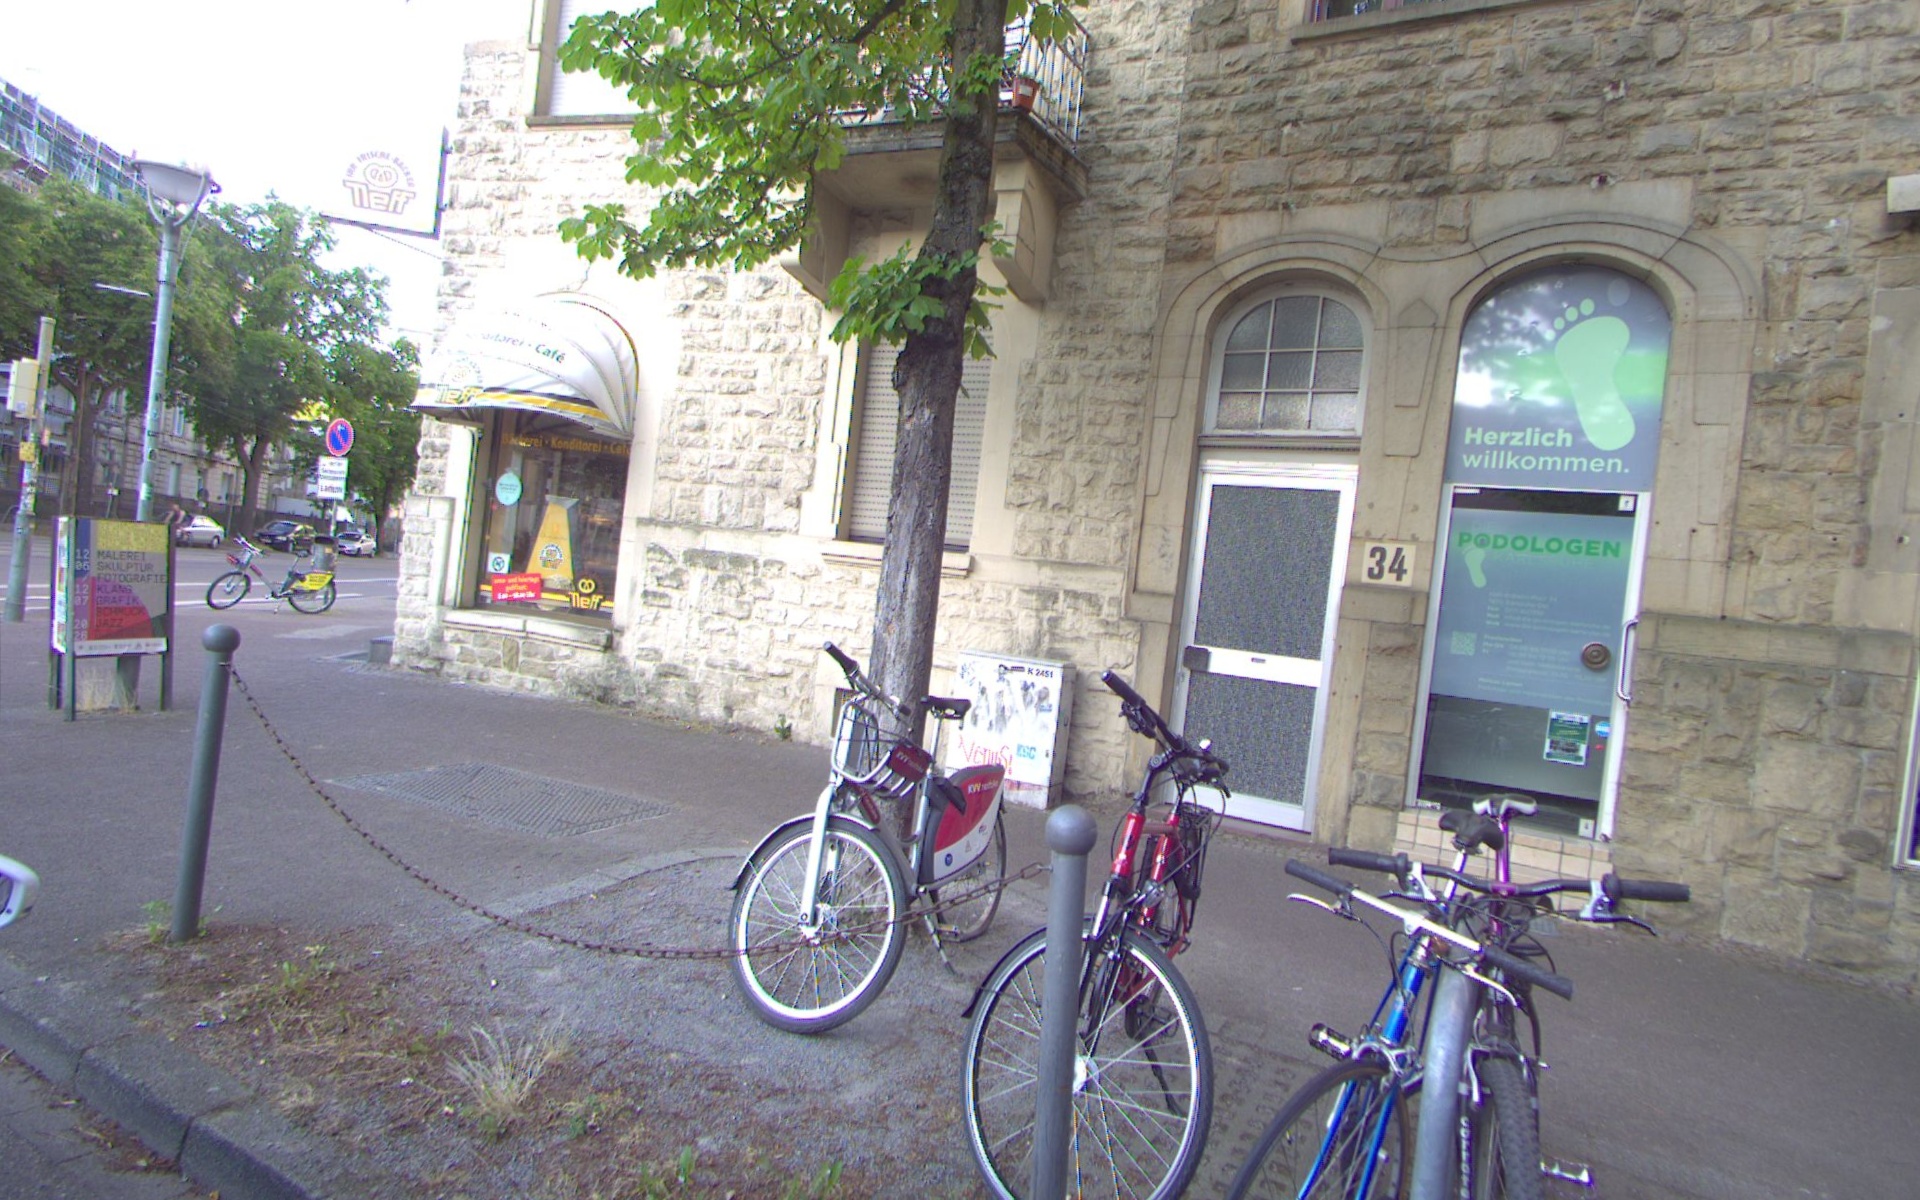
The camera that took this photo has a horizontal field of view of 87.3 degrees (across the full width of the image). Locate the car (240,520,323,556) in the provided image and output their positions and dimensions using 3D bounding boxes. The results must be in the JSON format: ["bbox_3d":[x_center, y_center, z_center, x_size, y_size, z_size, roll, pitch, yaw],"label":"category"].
[{"bbox_3d":[-36.192,-3.262,53.780,1.917,1.501,4.162,7,0,-8],"label":"car"}]

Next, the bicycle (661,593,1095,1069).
[{"bbox_3d":[-0.164,0.688,3.707,0.639,1.252,1.791,7,0,26],"label":"bicycle"}]

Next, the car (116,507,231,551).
[{"bbox_3d":[-34.163,-3.034,43.871,1.977,1.444,4.621,7,0,-12],"label":"car"}]

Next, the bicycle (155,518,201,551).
[{"bbox_3d":[-30.592,-2.554,39.378,0.545,1.162,1.606,6,0,-5],"label":"bicycle"}]

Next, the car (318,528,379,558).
[{"bbox_3d":[-38.082,-3.507,62.719,1.920,1.500,4.307,7,0,-14],"label":"car"}]

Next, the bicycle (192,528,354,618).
[{"bbox_3d":[-10.538,-0.401,15.486,0.721,1.144,1.868,7,0,42],"label":"bicycle"}]

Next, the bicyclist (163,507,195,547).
[{"bbox_3d":[-30.562,-2.863,39.369,0.545,1.446,0.735,6,1,-5],"label":"bicyclist"}]

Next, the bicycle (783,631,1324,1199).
[{"bbox_3d":[0.413,0.776,2.694,0.687,1.252,1.790,7,0,28],"label":"bicycle"}]

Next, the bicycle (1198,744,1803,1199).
[{"bbox_3d":[1.103,0.957,2.217,0.687,1.051,1.804,7,0,28],"label":"bicycle"}]

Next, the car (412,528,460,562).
[{"bbox_3d":[-41.889,-4.350,80.522,1.918,2.344,4.623,7,0,-10],"label":"car"}]
